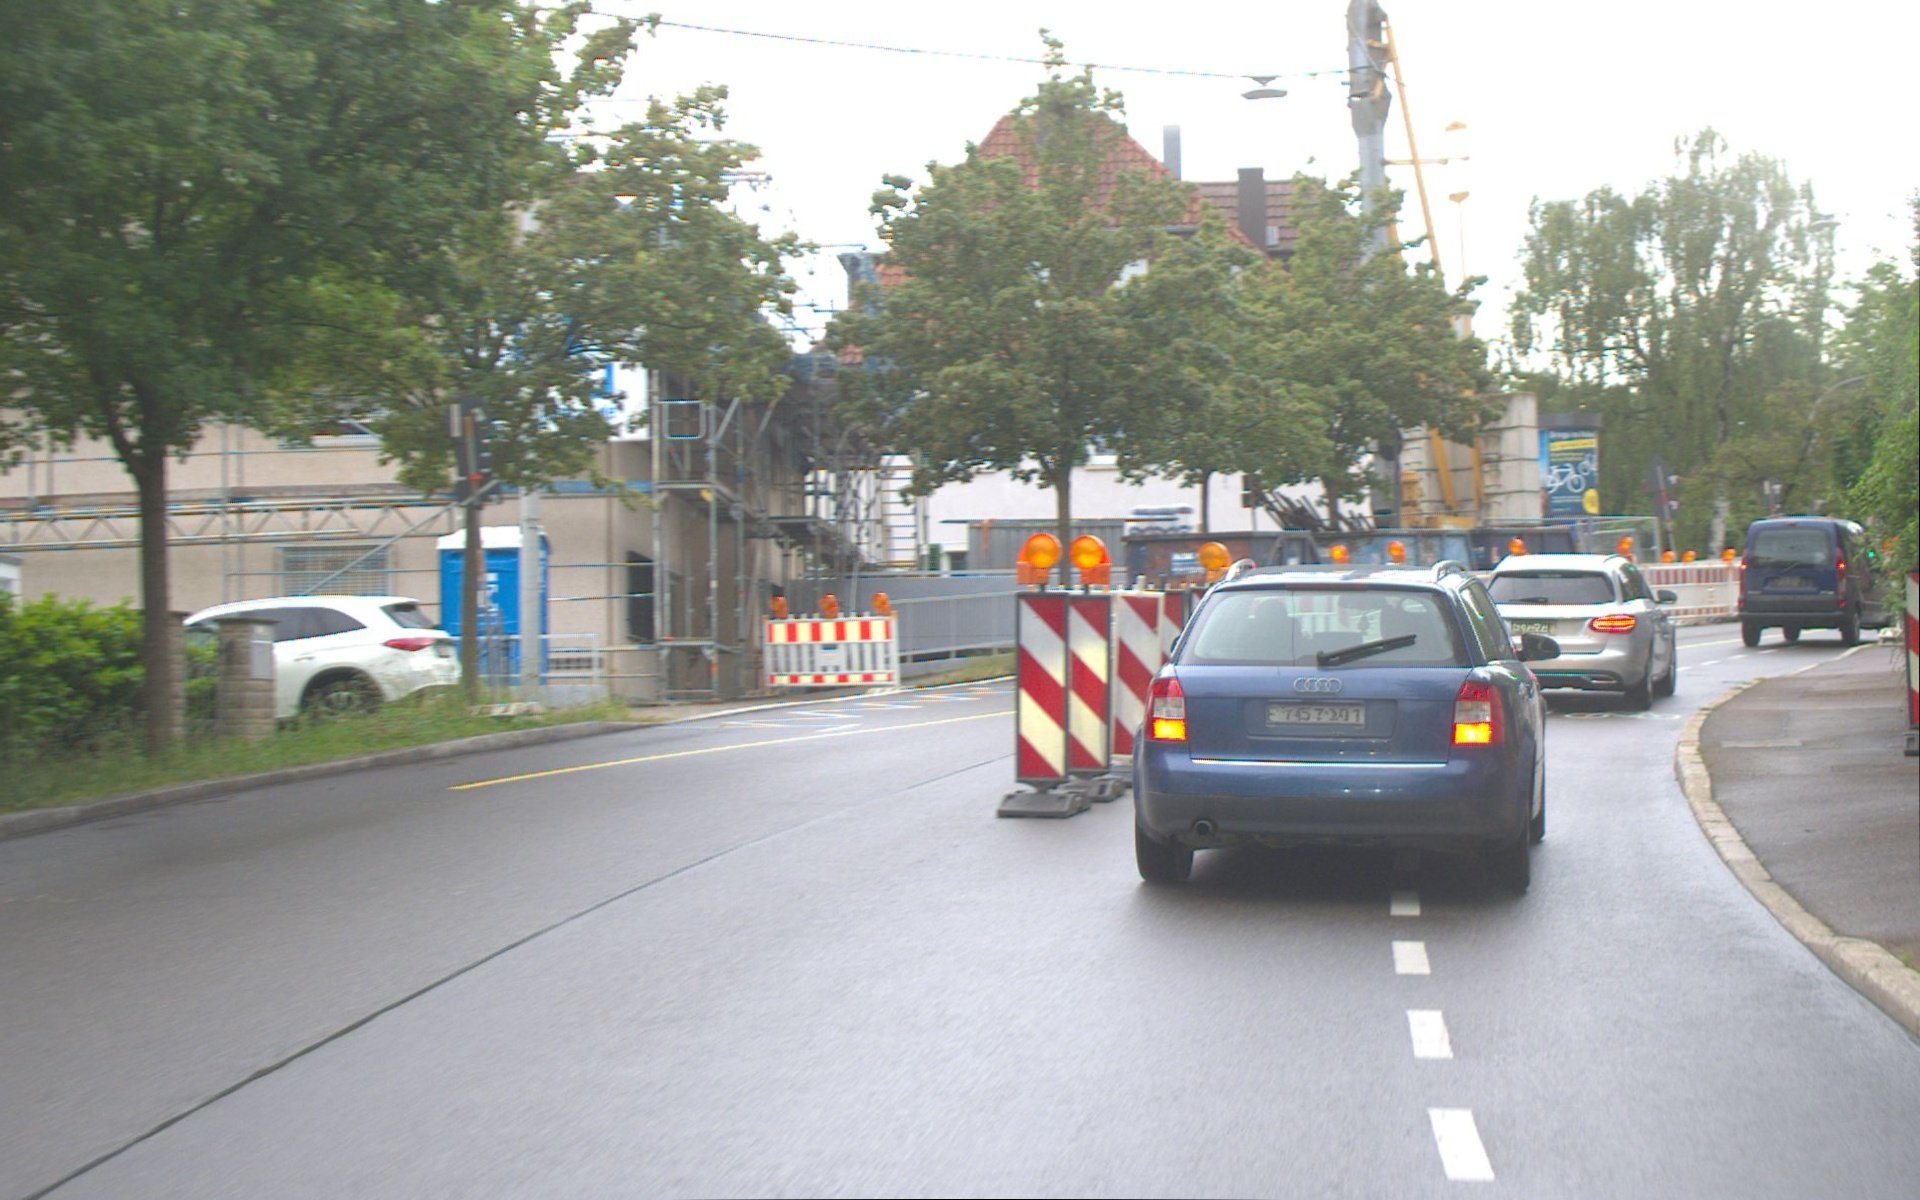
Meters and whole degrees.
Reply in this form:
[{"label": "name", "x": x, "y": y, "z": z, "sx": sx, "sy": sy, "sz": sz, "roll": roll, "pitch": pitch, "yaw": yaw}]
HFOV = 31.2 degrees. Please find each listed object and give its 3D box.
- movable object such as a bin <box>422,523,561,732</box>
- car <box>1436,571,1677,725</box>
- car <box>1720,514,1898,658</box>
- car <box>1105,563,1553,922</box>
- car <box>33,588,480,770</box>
[{"label": "movable object such as a bin", "x": -5.756, "y": 0.325, "z": 42.325, "sx": 1.313, "sy": 2.497, "sz": 1.386, "roll": -2, "pitch": 0, "yaw": 8}, {"label": "car", "x": 5.862, "y": 0.415, "z": 33.391, "sx": 1.910, "sy": 1.383, "sz": 4.347, "roll": 0, "pitch": 1, "yaw": 15}, {"label": "car", "x": 12.374, "y": -0.233, "z": 49.953, "sx": 1.732, "sy": 1.888, "sz": 4.050, "roll": -4, "pitch": 0, "yaw": 24}, {"label": "car", "x": 1.852, "y": 0.570, "z": 16.162, "sx": 1.778, "sy": 1.434, "sz": 3.998, "roll": 1, "pitch": 0, "yaw": 10}, {"label": "car", "x": -7.470, "y": 0.833, "z": 36.727, "sx": 4.197, "sy": 1.599, "sz": 1.950, "roll": -4, "pitch": -1, "yaw": 6}]
